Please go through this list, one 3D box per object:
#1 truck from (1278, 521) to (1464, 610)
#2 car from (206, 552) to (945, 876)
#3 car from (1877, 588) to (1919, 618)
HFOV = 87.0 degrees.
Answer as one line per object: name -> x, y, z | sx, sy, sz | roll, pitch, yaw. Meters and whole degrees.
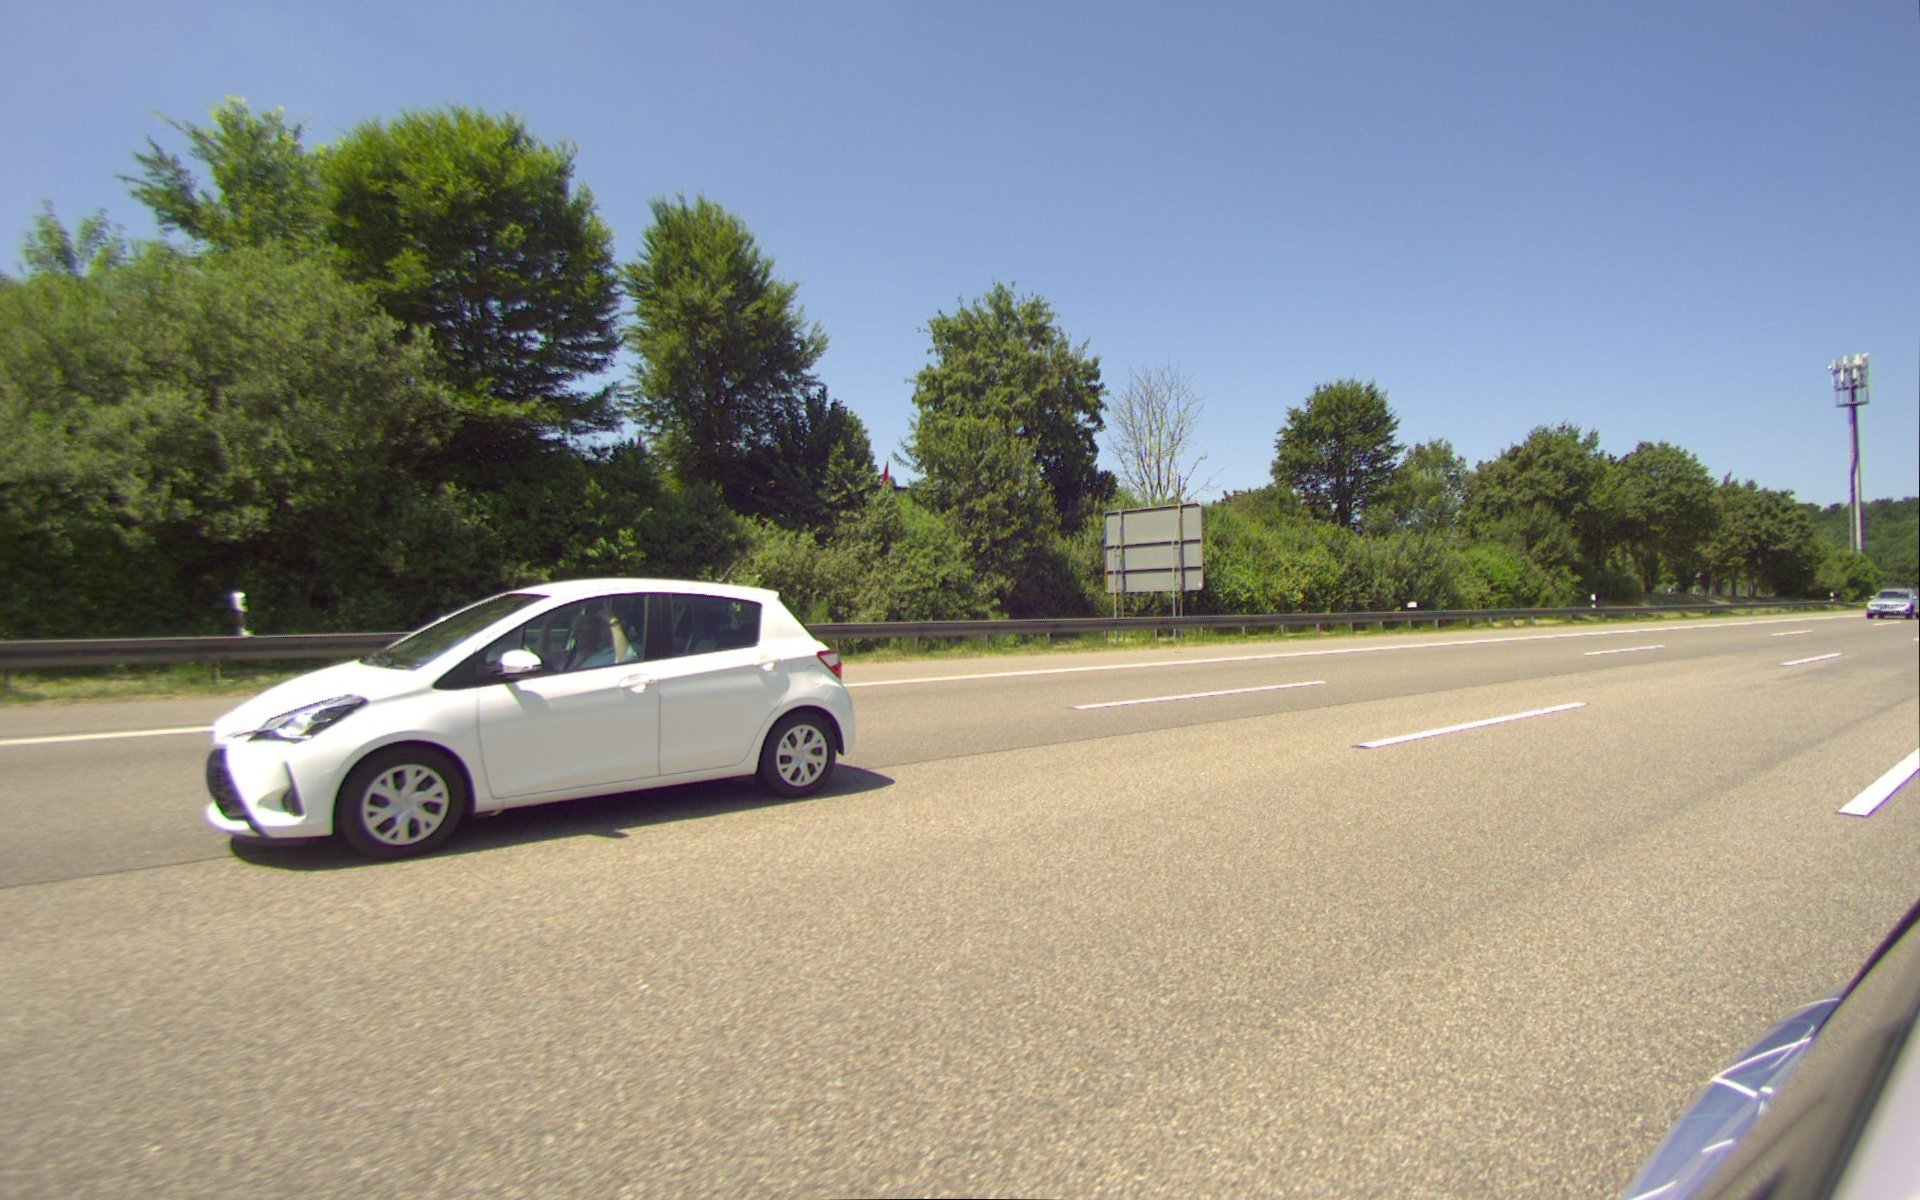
truck -> 27.760, -2.250, 67.652 | 16.081, 5.387, 3.530 | -1, 0, -36
car -> -2.344, 0.499, 6.914 | 4.405, 1.538, 1.753 | -1, 1, -41
car -> 51.877, 0.130, 55.303 | 3.928, 1.549, 1.998 | -1, 1, -39
